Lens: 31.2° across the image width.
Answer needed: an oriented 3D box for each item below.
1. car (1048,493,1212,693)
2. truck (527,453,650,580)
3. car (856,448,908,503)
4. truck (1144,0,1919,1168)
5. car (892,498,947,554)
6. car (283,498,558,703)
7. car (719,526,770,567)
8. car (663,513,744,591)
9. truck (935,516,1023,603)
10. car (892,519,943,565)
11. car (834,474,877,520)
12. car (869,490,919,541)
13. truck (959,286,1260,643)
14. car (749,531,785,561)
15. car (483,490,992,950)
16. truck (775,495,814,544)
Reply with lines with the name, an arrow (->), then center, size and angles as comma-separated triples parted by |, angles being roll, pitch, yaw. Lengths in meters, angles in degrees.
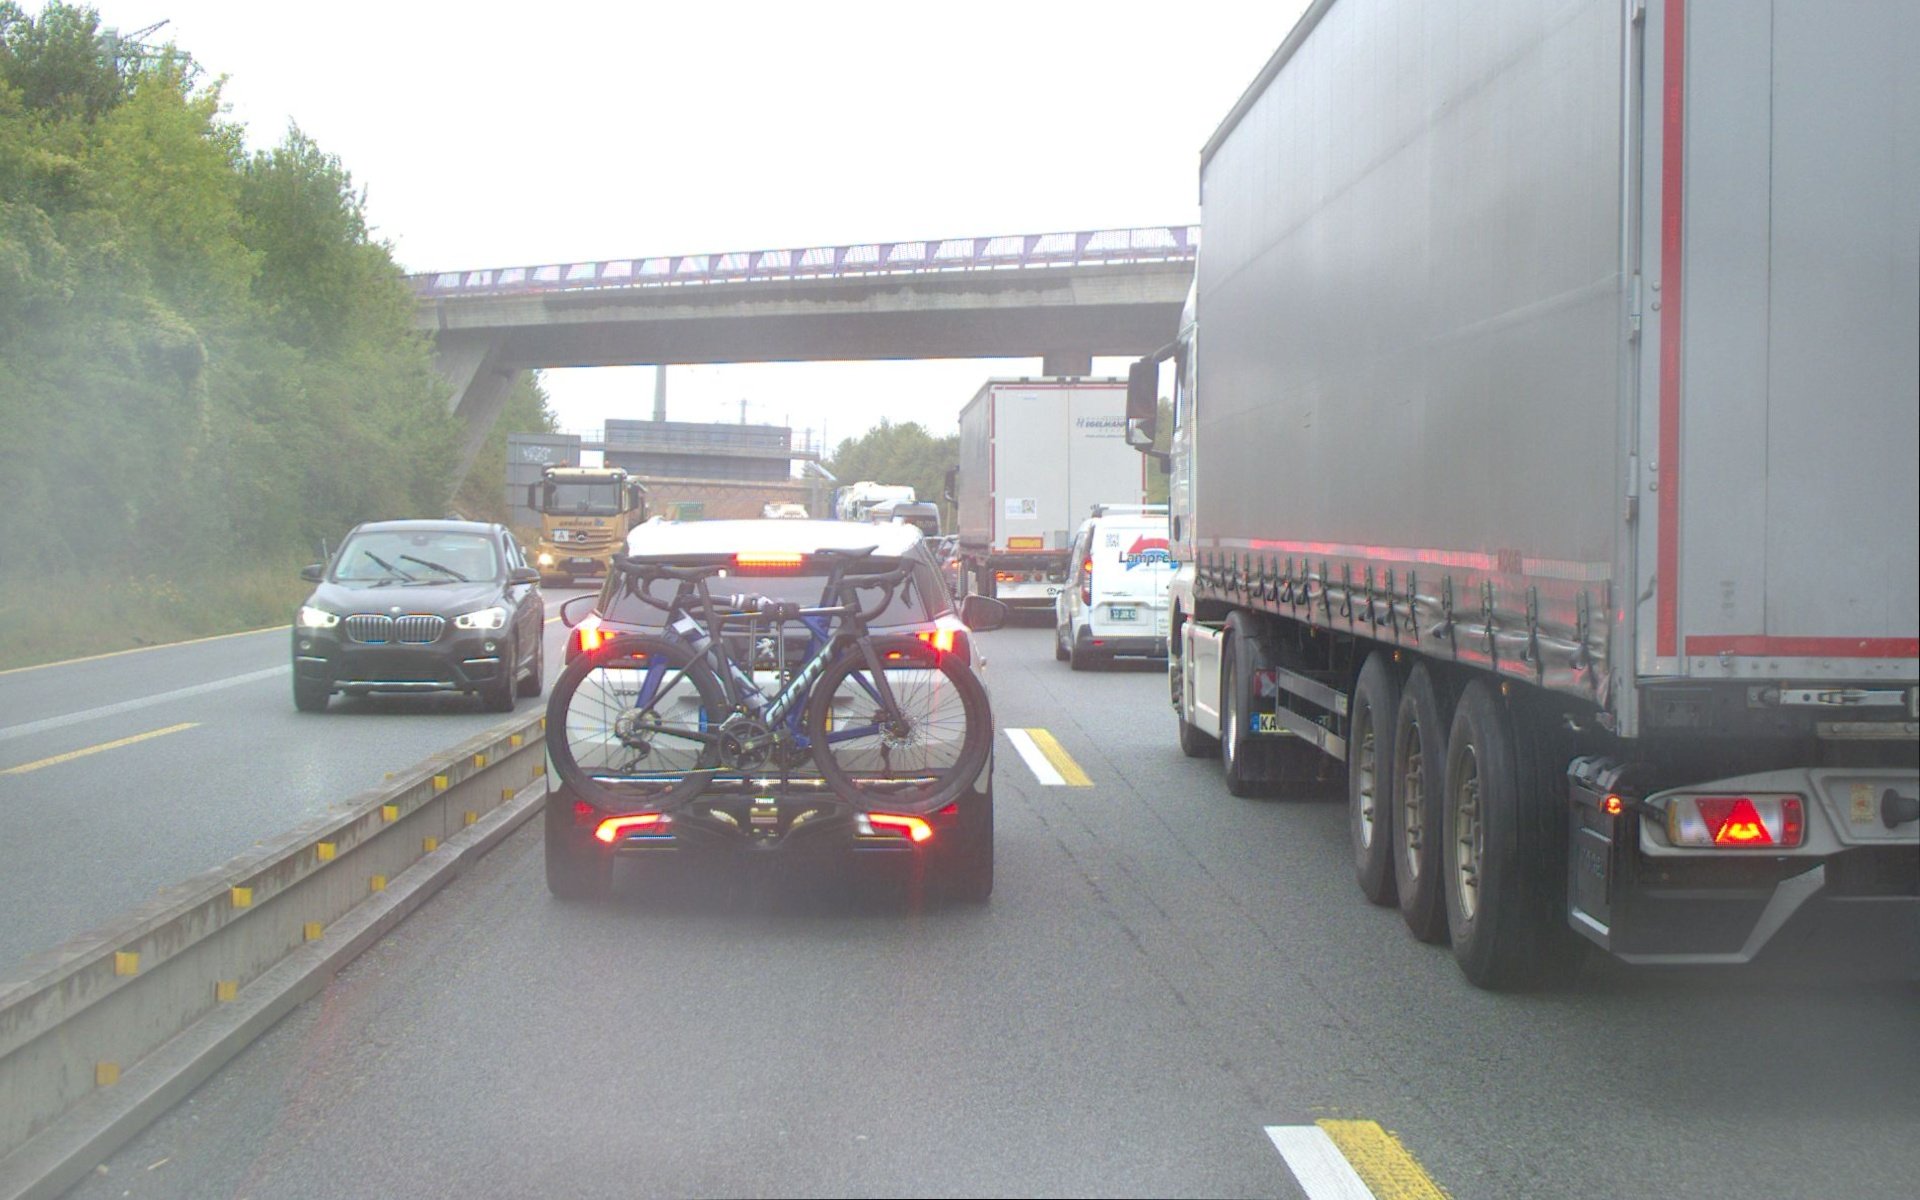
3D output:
car -> 1.924, -0.110, 39.950 | 1.670, 2.173, 4.535 | 1, 1, 0
truck -> -10.469, -2.314, 97.888 | 2.535, 3.341, 12.051 | 1, 1, -2
car -> -3.444, -5.495, 152.039 | 2.239, 2.299, 4.572 | 1, 1, -1
truck -> 3.509, -1.629, 18.155 | 3.979, 5.654, 20.376 | 1, 1, 0
car -> -1.512, -2.731, 127.055 | 1.993, 2.007, 4.000 | 1, 1, -1
car -> -4.588, -0.023, 29.745 | 1.810, 1.627, 4.118 | 1, 1, -1
car -> -7.487, -1.852, 119.638 | 1.686, 1.404, 3.931 | 1, 1, -3
car -> -6.200, -1.160, 83.476 | 1.810, 1.817, 4.636 | 1, 1, -3
truck -> 0.420, -0.979, 82.319 | 1.993, 2.007, 4.000 | 1, 1, -1
car -> -1.394, -1.904, 113.251 | 1.638, 1.492, 3.666 | 1, 1, -1
car -> -5.003, -4.959, 165.539 | 1.993, 2.119, 4.527 | 1, 1, -1
car -> -2.665, -3.395, 139.449 | 1.993, 2.007, 4.000 | 1, 1, -1
truck -> 2.420, -2.302, 65.196 | 4.743, 5.654, 20.376 | 1, 1, 0
car -> -9.141, -2.560, 162.971 | 1.686, 1.404, 3.931 | 1, 1, -3
car -> -0.792, 0.400, 14.651 | 1.810, 1.632, 4.636 | 1, 1, 0
truck -> -11.694, -5.635, 243.549 | 2.535, 3.341, 12.051 | 1, 1, -2
